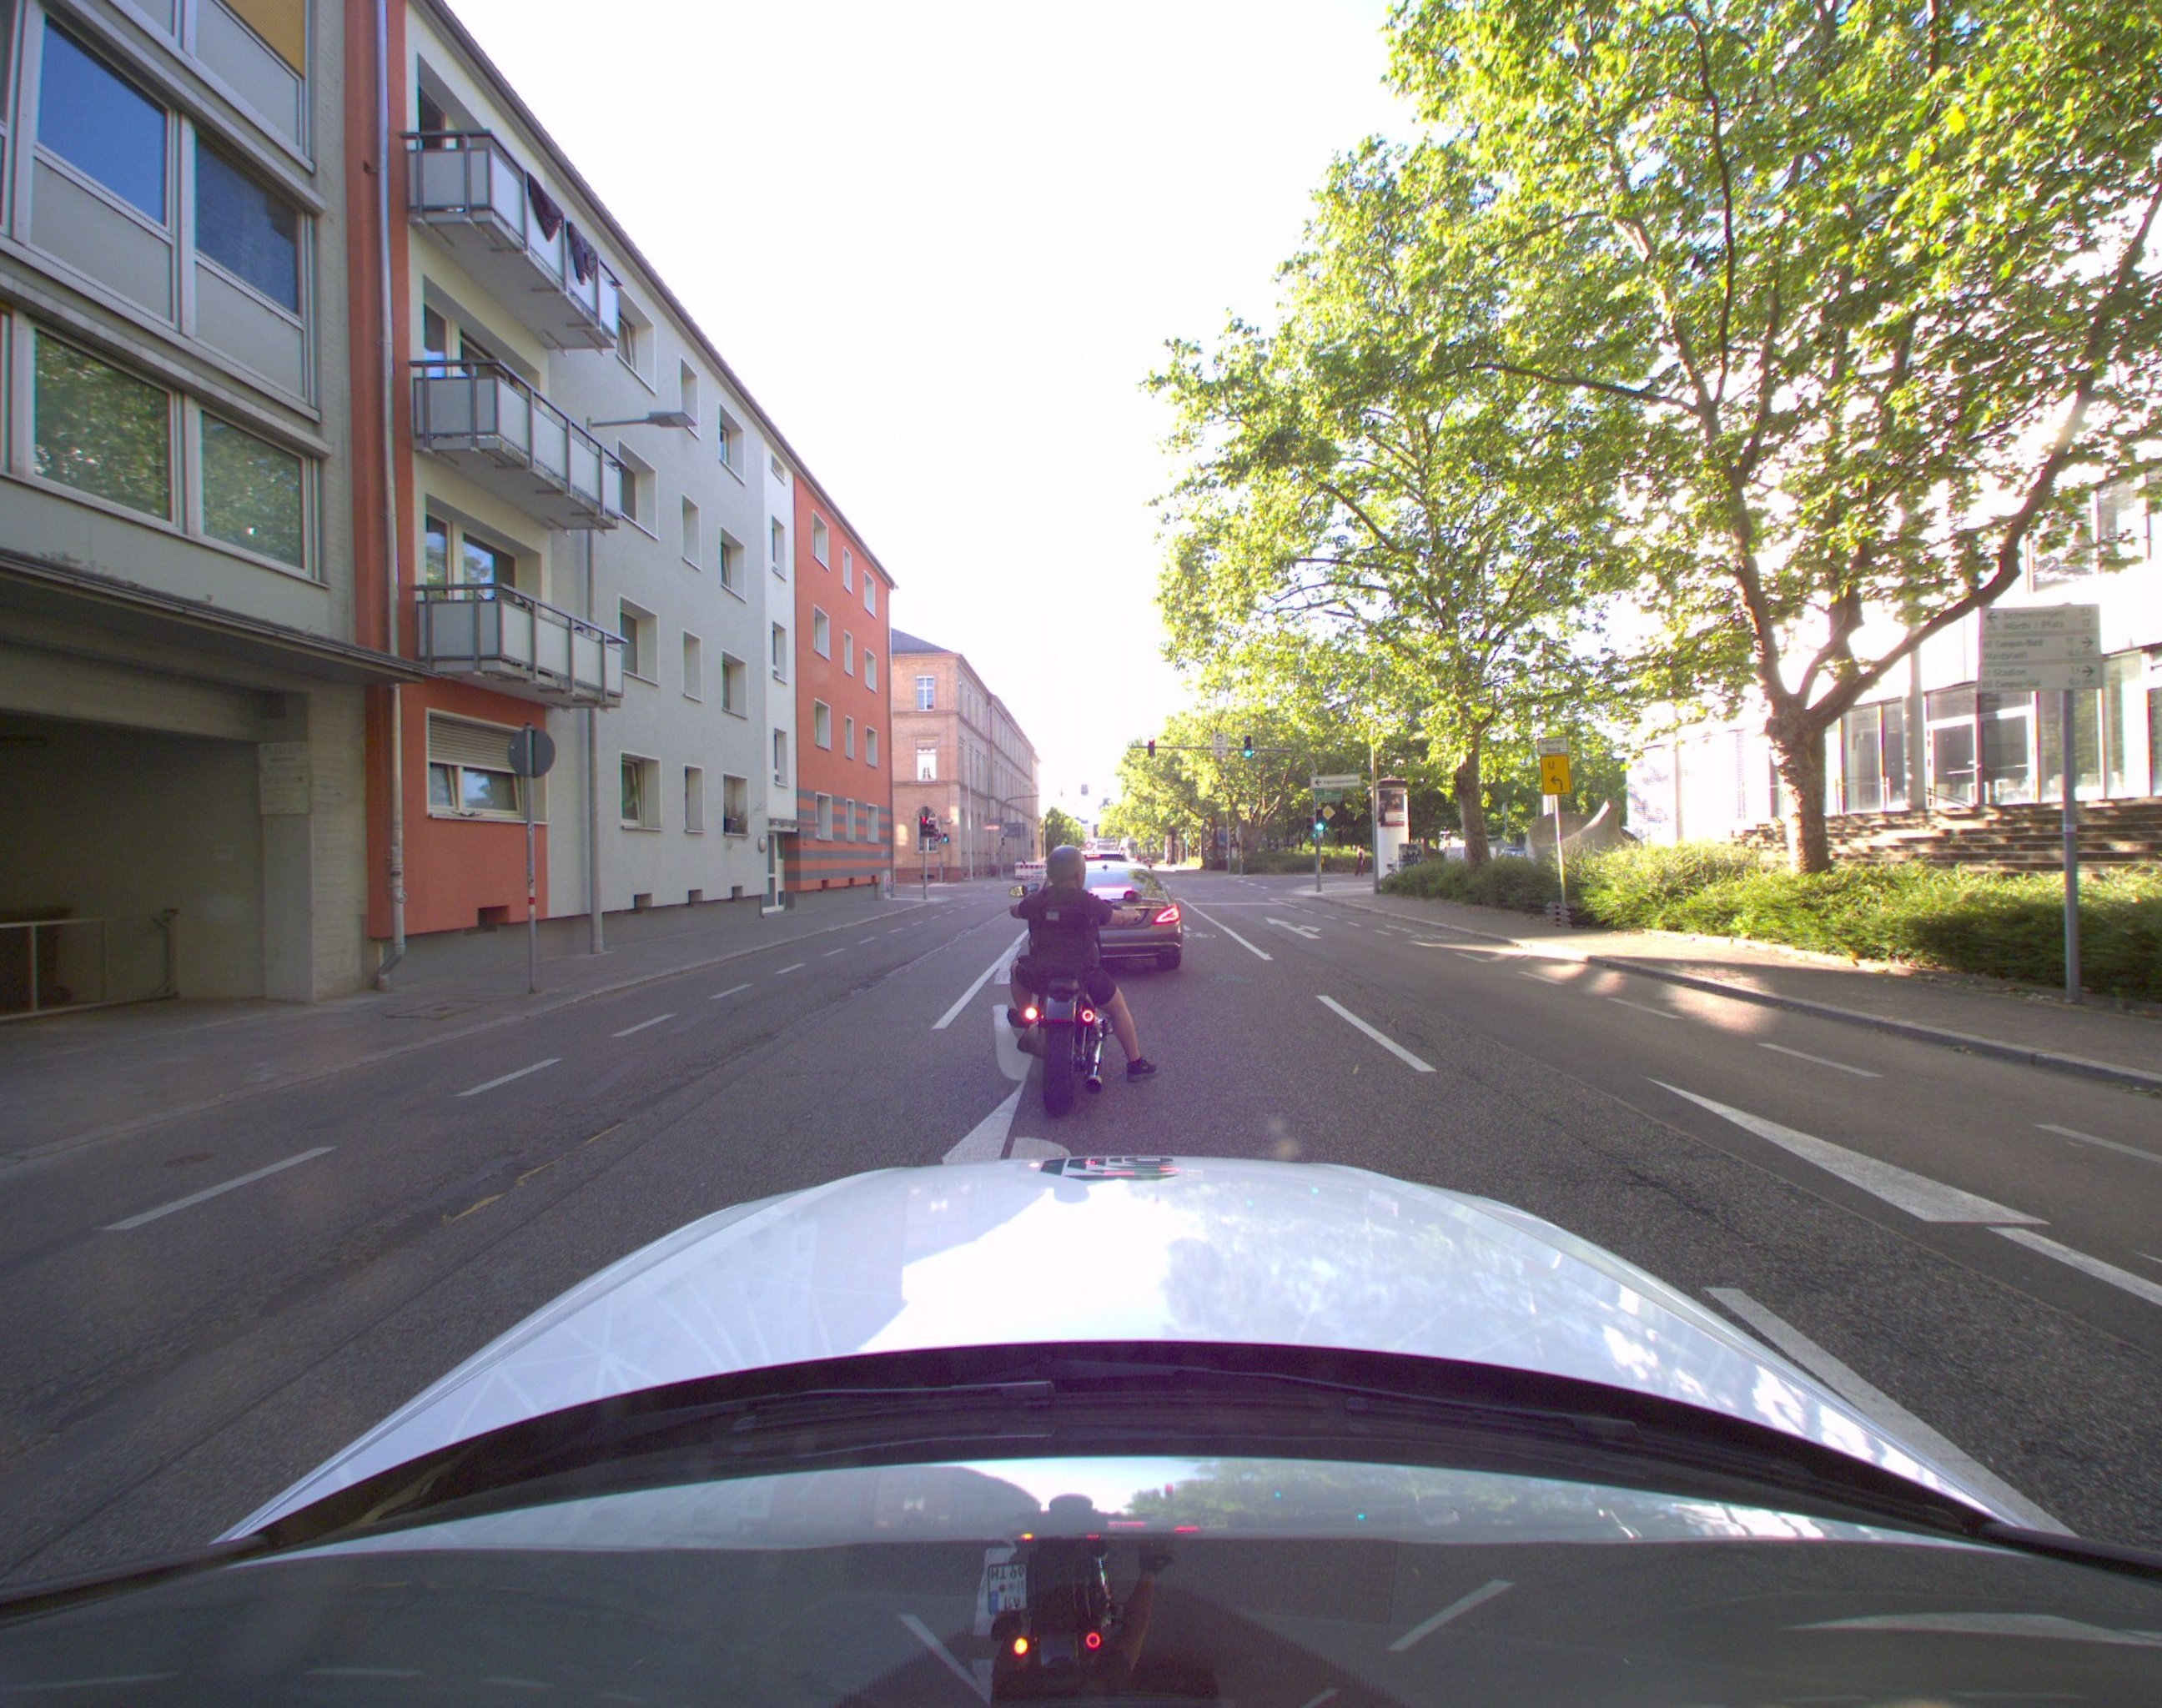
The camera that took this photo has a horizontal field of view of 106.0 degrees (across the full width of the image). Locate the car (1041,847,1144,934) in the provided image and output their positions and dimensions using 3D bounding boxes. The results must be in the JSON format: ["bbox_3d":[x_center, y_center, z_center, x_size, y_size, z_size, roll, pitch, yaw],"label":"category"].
[{"bbox_3d":[0.284,0.719,17.686,1.986,1.665,4.001,0,-1,2],"label":"car"}]

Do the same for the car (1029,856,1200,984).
[{"bbox_3d":[0.258,0.767,11.759,1.867,1.444,4.421,-1,0,-6],"label":"car"}]

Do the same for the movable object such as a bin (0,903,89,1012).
[{"bbox_3d":[-11.295,1.082,8.662,0.639,1.065,0.675,-1,0,1],"label":"movable object such as a bin"}]

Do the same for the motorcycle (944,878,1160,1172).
[{"bbox_3d":[-0.097,0.830,4.982,0.977,1.275,2.408,-1,0,2],"label":"motorcycle"}]

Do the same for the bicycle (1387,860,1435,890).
[{"bbox_3d":[11.074,0.709,27.337,1.475,0.980,0.300,0,-1,7],"label":"bicycle"}]

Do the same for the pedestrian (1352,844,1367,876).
[{"bbox_3d":[15.719,0.349,45.985,0.671,1.772,0.621,-1,-1,31],"label":"pedestrian"}]

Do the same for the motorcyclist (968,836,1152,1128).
[{"bbox_3d":[-0.097,0.698,5.080,0.977,1.578,1.249,-1,0,1],"label":"motorcyclist"}]
